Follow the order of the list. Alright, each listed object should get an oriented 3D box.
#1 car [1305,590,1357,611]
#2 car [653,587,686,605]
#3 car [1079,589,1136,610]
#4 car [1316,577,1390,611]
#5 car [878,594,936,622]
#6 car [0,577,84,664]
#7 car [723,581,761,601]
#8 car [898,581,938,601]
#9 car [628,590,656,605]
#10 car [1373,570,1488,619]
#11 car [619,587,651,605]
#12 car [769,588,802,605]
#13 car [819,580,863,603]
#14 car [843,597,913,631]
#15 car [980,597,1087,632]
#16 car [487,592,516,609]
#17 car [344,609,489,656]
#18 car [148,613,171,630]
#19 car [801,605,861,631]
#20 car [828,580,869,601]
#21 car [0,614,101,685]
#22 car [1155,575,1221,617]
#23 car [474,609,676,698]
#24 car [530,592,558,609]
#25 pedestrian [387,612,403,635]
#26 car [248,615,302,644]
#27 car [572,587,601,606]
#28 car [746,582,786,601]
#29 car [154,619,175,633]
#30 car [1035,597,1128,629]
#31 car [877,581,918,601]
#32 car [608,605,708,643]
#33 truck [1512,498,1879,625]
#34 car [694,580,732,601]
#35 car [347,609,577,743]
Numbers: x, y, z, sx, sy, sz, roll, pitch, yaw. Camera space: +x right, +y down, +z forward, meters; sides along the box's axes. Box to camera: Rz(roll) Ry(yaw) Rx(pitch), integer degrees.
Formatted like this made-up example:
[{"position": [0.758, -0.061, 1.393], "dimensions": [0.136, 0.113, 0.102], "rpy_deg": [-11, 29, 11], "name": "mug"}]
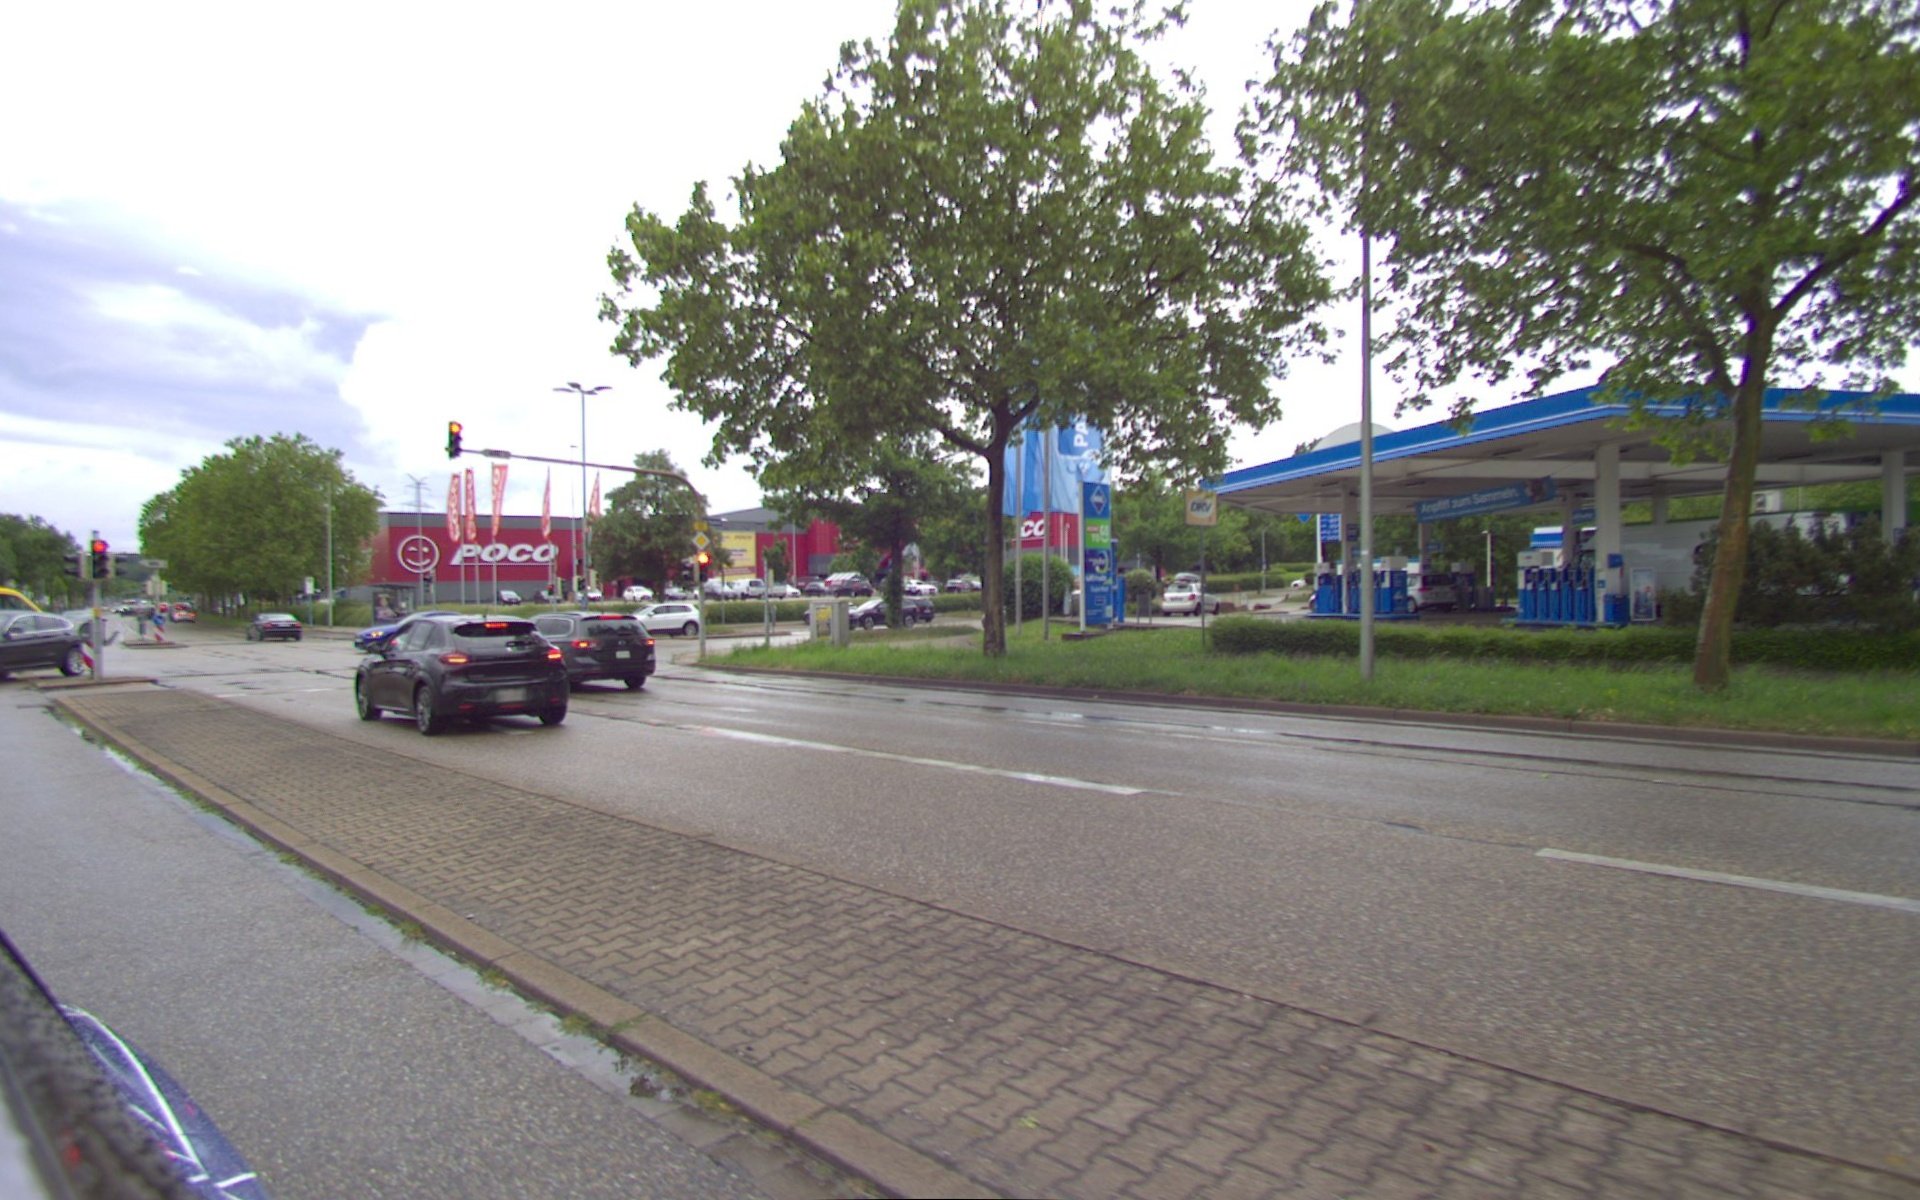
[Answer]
[{"position": [29.337, 0.047, 80.042], "dimensions": [1.592, 1.667, 3.473], "rpy_deg": [0, 0, -45], "name": "car"}, {"position": [-28.194, -0.387, 98.137], "dimensions": [1.646, 1.658, 3.970], "rpy_deg": [0, -1, -38], "name": "car"}, {"position": [11.568, -0.015, 79.605], "dimensions": [1.659, 1.621, 4.290], "rpy_deg": [0, -1, -43], "name": "car"}, {"position": [21.323, -0.302, 55.119], "dimensions": [1.765, 1.741, 4.010], "rpy_deg": [-1, -1, -13], "name": "car"}, {"position": [-3.422, 0.539, 65.244], "dimensions": [3.661, 1.737, 1.661], "rpy_deg": [-1, -1, 44], "name": "car"}, {"position": [-28.862, 0.639, 29.244], "dimensions": [2.242, 2.492, 4.955], "rpy_deg": [-2, 0, 35], "name": "car"}, {"position": [-18.524, -0.747, 85.853], "dimensions": [1.606, 1.658, 3.834], "rpy_deg": [0, -1, -38], "name": "car"}, {"position": [-3.751, -0.805, 90.849], "dimensions": [1.646, 1.658, 3.834], "rpy_deg": [0, -1, -38], "name": "car"}, {"position": [-35.305, -0.271, 112.334], "dimensions": [1.670, 1.658, 3.970], "rpy_deg": [0, -1, -38], "name": "car"}, {"position": [19.025, -0.209, 41.125], "dimensions": [1.913, 1.821, 4.141], "rpy_deg": [-2, 0, -17], "name": "car"}, {"position": [-31.149, -0.376, 96.992], "dimensions": [1.646, 1.658, 3.970], "rpy_deg": [0, -1, -38], "name": "car"}, {"position": [-18.157, -0.336, 105.093], "dimensions": [1.646, 1.658, 3.970], "rpy_deg": [0, -1, -38], "name": "car"}, {"position": [-12.406, -0.847, 105.282], "dimensions": [1.797, 2.321, 5.658], "rpy_deg": [0, -1, -38], "name": "car"}, {"position": [-4.379, 0.722, 54.503], "dimensions": [3.485, 1.709, 1.604], "rpy_deg": [-2, 1, -42], "name": "car"}, {"position": [3.443, 0.691, 48.022], "dimensions": [4.902, 1.560, 1.971], "rpy_deg": [-2, -1, 43], "name": "car"}, {"position": [-44.817, 0.057, 98.919], "dimensions": [1.670, 1.658, 3.970], "rpy_deg": [0, -1, -38], "name": "car"}, {"position": [-20.340, 1.169, 38.035], "dimensions": [1.799, 1.645, 4.493], "rpy_deg": [-1, -1, 38], "name": "car"}, {"position": [-84.031, 2.227, 106.206], "dimensions": [1.814, 1.601, 4.007], "rpy_deg": [0, -3, -39], "name": "car"}, {"position": [-7.913, 1.101, 61.885], "dimensions": [3.661, 1.565, 1.661], "rpy_deg": [-1, -1, 44], "name": "car"}, {"position": [-9.465, -0.794, 85.848], "dimensions": [1.646, 1.658, 3.834], "rpy_deg": [0, -1, -38], "name": "car"}, {"position": [-22.226, 1.124, 23.021], "dimensions": [1.872, 1.565, 4.598], "rpy_deg": [-1, -1, -6], "name": "car"}, {"position": [10.363, -0.167, 45.854], "dimensions": [1.809, 1.811, 3.659], "rpy_deg": [0, 0, 33], "name": "car"}, {"position": [-7.640, 0.965, 19.803], "dimensions": [1.970, 1.520, 4.733], "rpy_deg": [0, -1, -44], "name": "car"}, {"position": [-43.554, 0.075, 105.874], "dimensions": [1.670, 1.658, 3.970], "rpy_deg": [0, -1, -38], "name": "car"}, {"position": [-35.431, 1.491, 63.485], "dimensions": [0.769, 1.442, 0.642], "rpy_deg": [1, -2, -43], "name": "pedestrian"}, {"position": [-35.095, 1.491, 51.814], "dimensions": [1.761, 1.415, 4.004], "rpy_deg": [0, -1, -43], "name": "car"}, {"position": [-40.348, -0.383, 109.316], "dimensions": [1.763, 1.940, 3.756], "rpy_deg": [0, -1, -40], "name": "car"}, {"position": [-15.881, -0.681, 82.733], "dimensions": [1.646, 1.391, 3.917], "rpy_deg": [0, -1, -38], "name": "car"}, {"position": [-89.682, 2.946, 114.074], "dimensions": [1.814, 1.601, 4.007], "rpy_deg": [0, -1, -39], "name": "car"}, {"position": [6.293, 0.702, 52.754], "dimensions": [4.588, 1.601, 1.902], "rpy_deg": [-1, -1, 43], "name": "car"}, {"position": [-5.479, -0.804, 88.746], "dimensions": [1.646, 1.658, 3.834], "rpy_deg": [0, -1, -38], "name": "car"}, {"position": [-13.859, 1.083, 46.538], "dimensions": [3.941, 1.565, 1.903], "rpy_deg": [-2, 0, -44], "name": "car"}, {"position": [18.008, -0.736, 25.669], "dimensions": [2.119, 2.695, 7.895], "rpy_deg": [0, -1, -15], "name": "truck"}, {"position": [-20.411, -0.748, 83.557], "dimensions": [1.646, 1.658, 3.834], "rpy_deg": [0, -1, -38], "name": "car"}, {"position": [-6.747, 0.910, 13.524], "dimensions": [1.624, 1.520, 3.896], "rpy_deg": [0, -1, -45], "name": "car"}]
